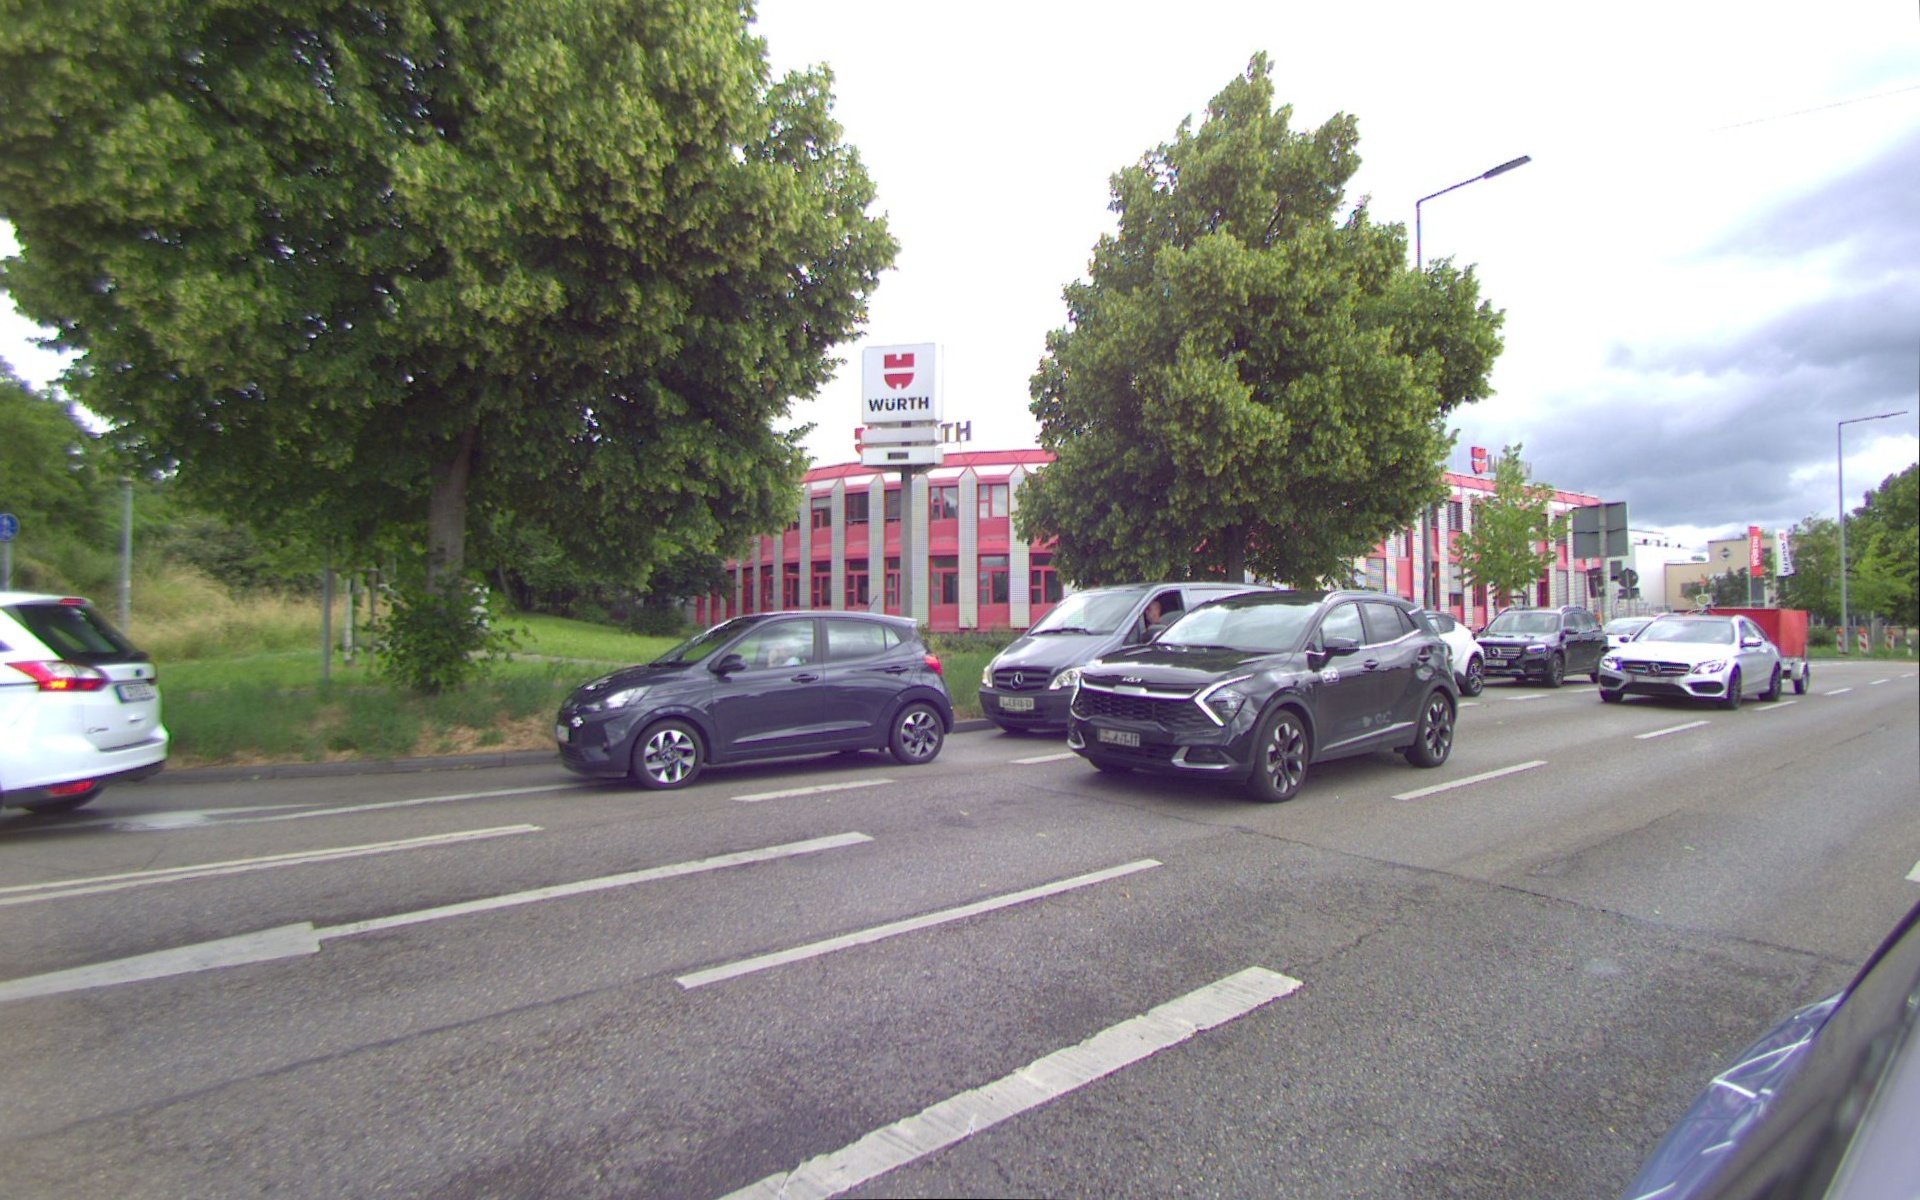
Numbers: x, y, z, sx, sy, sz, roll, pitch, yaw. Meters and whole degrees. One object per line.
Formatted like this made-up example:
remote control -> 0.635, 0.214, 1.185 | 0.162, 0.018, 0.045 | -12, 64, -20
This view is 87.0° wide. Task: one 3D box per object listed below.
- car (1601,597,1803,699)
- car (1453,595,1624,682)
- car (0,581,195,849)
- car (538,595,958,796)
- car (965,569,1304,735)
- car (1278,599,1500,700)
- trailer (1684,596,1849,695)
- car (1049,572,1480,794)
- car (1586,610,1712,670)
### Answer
car -> 12.527, 0.699, 16.987 | 4.323, 1.469, 1.774 | -1, 1, -40
car -> 12.393, 0.807, 21.583 | 4.133, 1.679, 1.863 | 1, -3, -41
car -> -7.888, 0.728, 6.600 | 4.277, 1.676, 1.768 | 0, -1, -20
car -> -1.932, 0.771, 9.509 | 3.495, 1.526, 1.607 | -1, -3, -34
car -> 2.390, 0.649, 13.149 | 4.591, 1.798, 1.761 | 1, -4, -40
car -> 7.408, 0.802, 17.324 | 4.034, 1.536, 1.842 | 0, -4, -41
trailer -> 15.686, 0.784, 19.625 | 3.926, 1.680, 1.774 | -1, 0, -40
car -> 2.890, 0.553, 9.126 | 4.145, 1.549, 1.796 | -1, 1, -41
car -> 18.490, 1.002, 27.086 | 4.293, 1.458, 1.761 | 0, -1, -41
